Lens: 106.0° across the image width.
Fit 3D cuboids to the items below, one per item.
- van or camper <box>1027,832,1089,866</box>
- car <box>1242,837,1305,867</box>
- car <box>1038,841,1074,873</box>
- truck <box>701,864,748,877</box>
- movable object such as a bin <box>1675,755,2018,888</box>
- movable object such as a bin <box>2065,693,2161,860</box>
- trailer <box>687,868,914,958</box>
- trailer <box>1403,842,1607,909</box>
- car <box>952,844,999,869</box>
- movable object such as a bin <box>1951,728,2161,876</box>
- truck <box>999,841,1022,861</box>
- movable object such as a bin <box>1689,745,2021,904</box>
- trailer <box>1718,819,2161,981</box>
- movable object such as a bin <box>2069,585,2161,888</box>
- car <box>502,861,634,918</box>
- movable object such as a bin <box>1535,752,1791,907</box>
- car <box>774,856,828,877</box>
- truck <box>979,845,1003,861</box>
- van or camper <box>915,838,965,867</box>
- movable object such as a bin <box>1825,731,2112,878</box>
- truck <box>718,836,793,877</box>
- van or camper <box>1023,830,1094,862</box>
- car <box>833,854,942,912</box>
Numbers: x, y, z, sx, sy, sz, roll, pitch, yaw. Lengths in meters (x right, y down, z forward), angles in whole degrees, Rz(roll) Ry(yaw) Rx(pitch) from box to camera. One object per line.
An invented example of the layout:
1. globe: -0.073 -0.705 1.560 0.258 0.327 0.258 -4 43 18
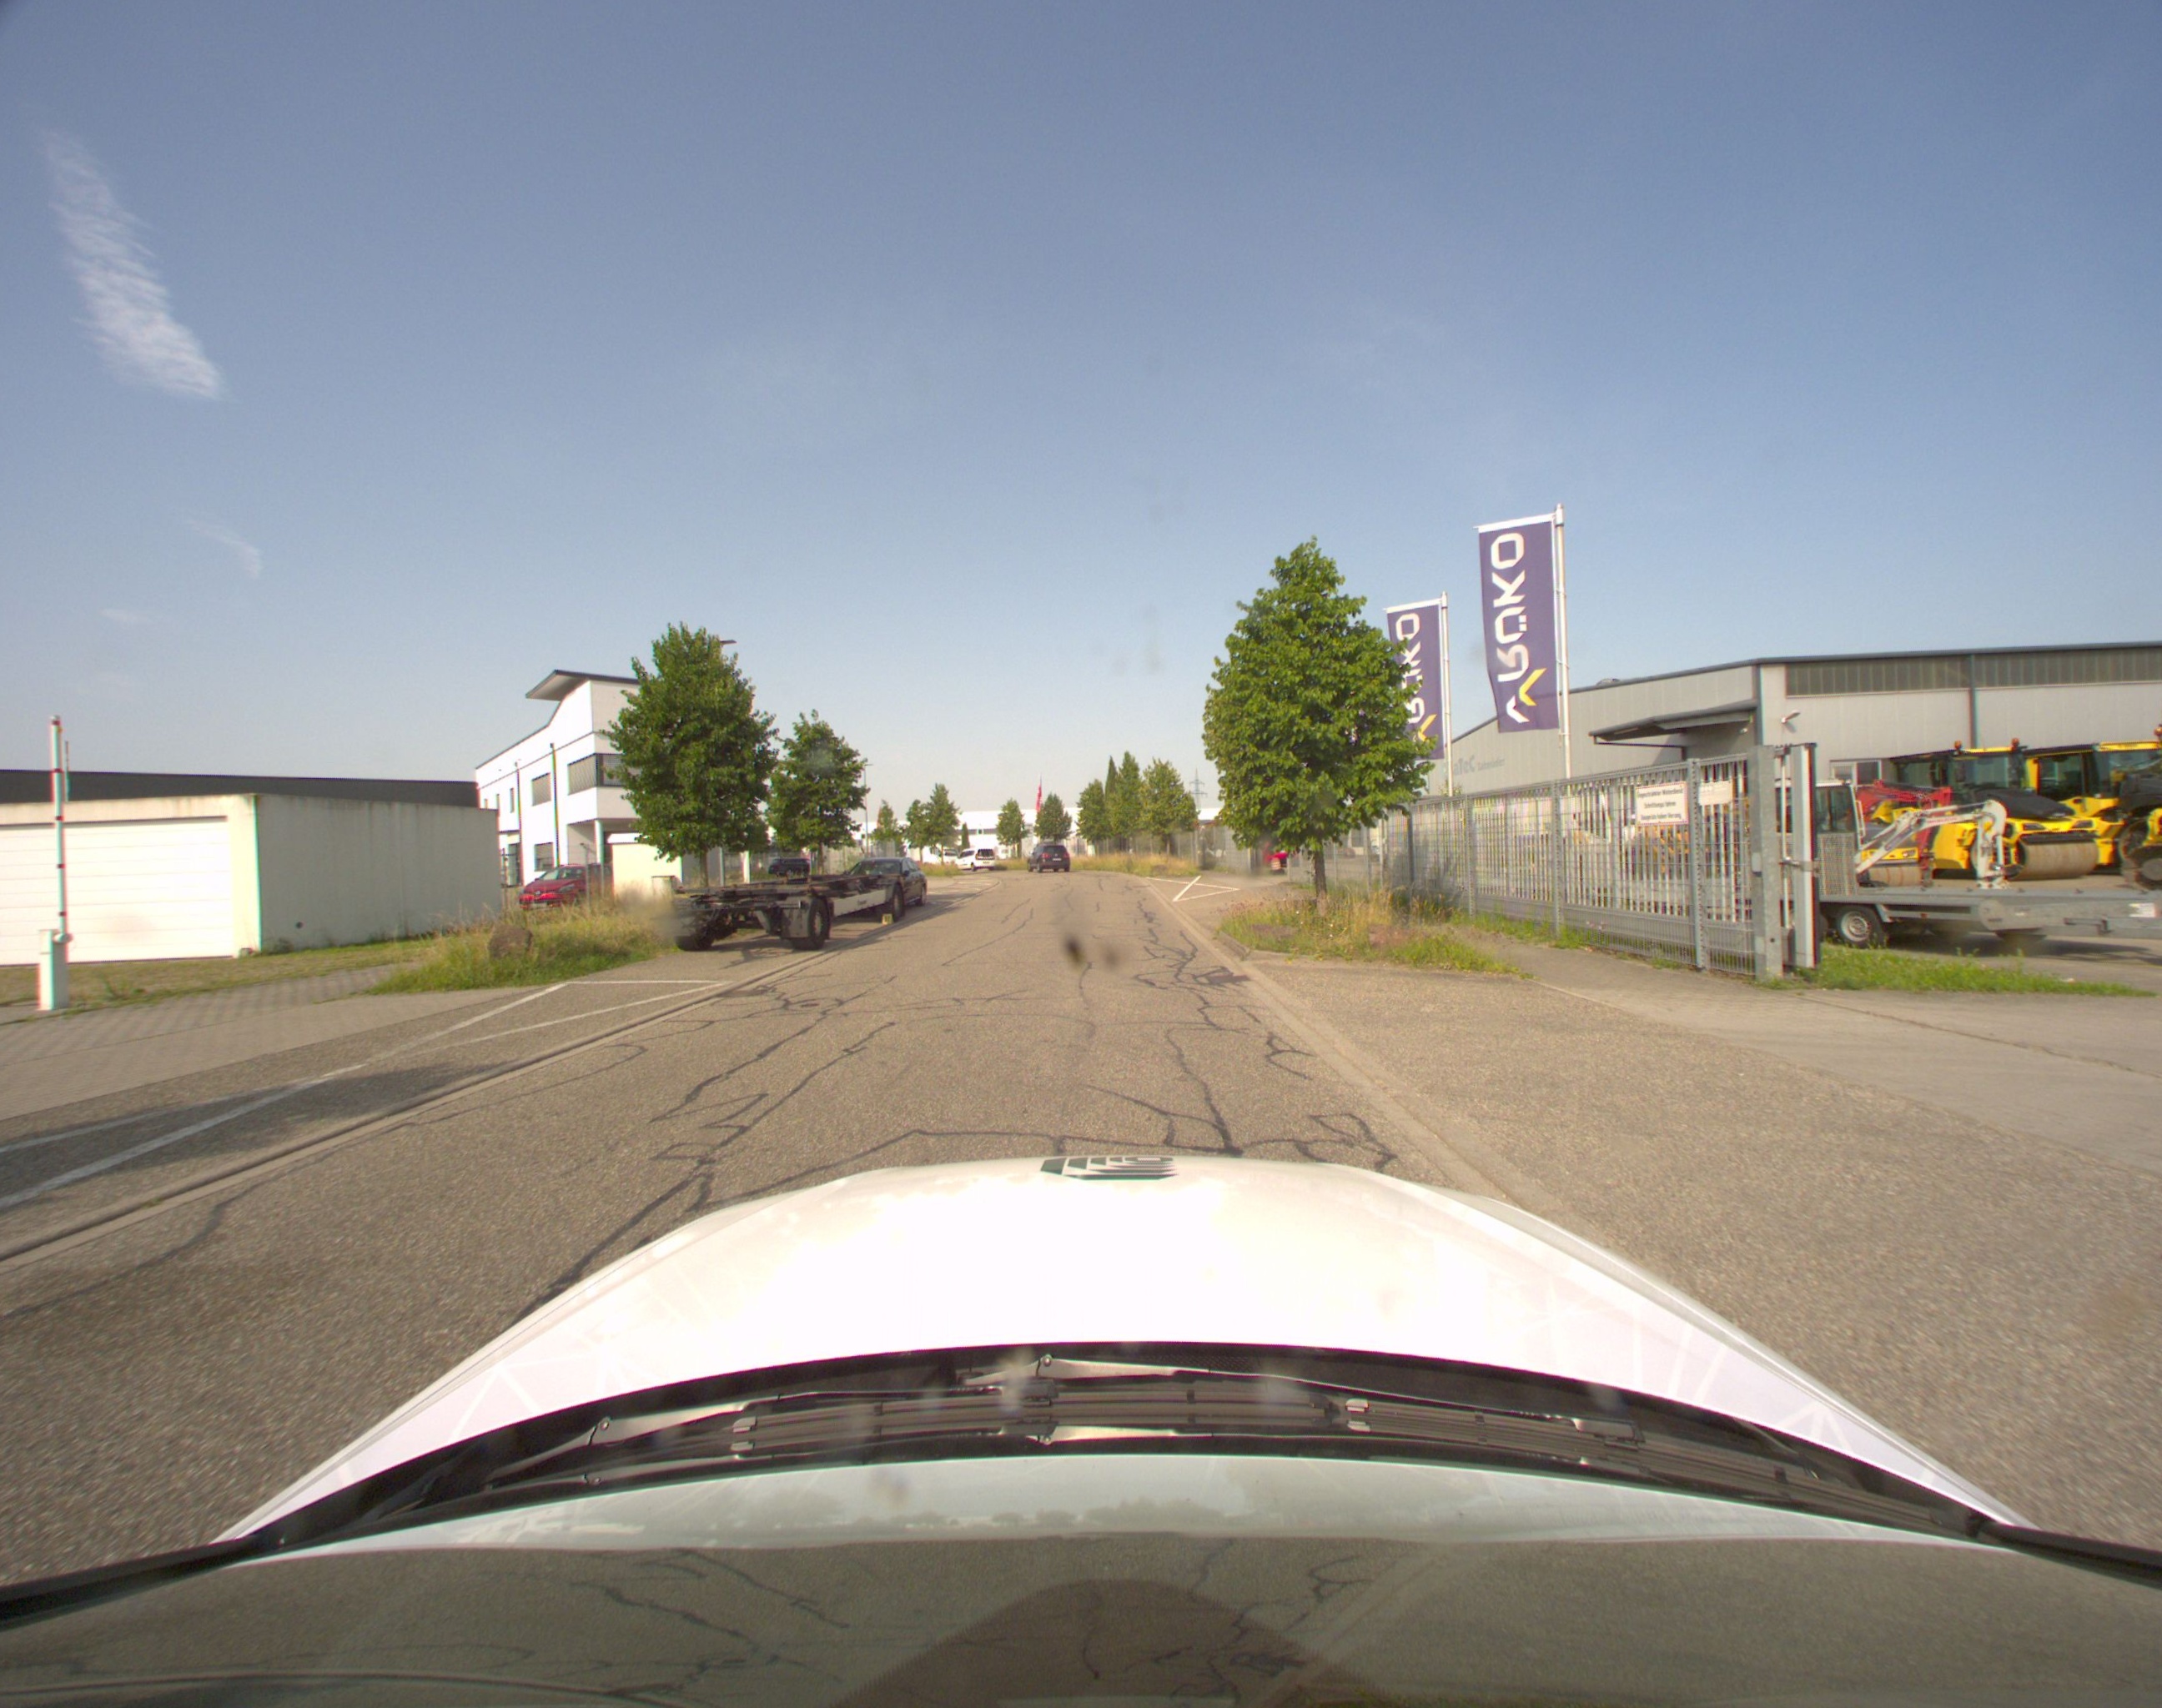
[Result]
1. van or camper: -2.197 -0.411 73.366 2.364 2.848 7.271 -2 0 -30
2. car: 9.634 -0.129 41.196 1.876 1.357 4.770 -2 0 -2
3. car: -1.546 0.146 49.406 1.990 1.804 3.994 -1 0 -4
4. truck: -39.112 1.852 89.173 2.547 1.265 6.445 -3 1 -45
5. movable object such as a bin: 17.015 -0.660 18.712 2.911 2.491 5.342 -2 0 2
6. movable object such as a bin: 26.322 -1.841 17.814 2.673 3.873 5.721 -2 0 2
7. trailer: -5.375 1.041 17.058 2.122 1.232 7.159 -1 1 1
8. trailer: 9.338 0.405 18.505 2.119 1.243 4.795 -2 0 0
9. car: -8.438 0.199 65.022 2.007 1.899 4.422 -2 0 -32
10. movable object such as a bin: 23.138 -1.119 18.535 1.985 3.031 4.375 -2 0 2
11. truck: -10.657 -0.523 123.333 2.441 2.826 8.007 -2 0 2
12. movable object such as a bin: 14.177 -0.495 15.444 1.983 2.458 4.771 -2 0 5
13. trailer: 9.654 0.358 8.858 1.985 1.311 4.566 -2 -1 2
14. movable object such as a bin: 18.838 -1.887 10.296 3.305 4.806 7.672 -2 1 0
15. car: -16.775 1.092 26.898 1.767 1.525 4.299 -2 1 -4
16. movable object such as a bin: 12.074 -0.470 17.468 1.879 2.752 5.163 -2 0 2
17. car: -20.945 0.907 61.008 1.576 1.454 3.525 -2 0 43
18. truck: -13.618 -0.131 123.424 2.441 2.265 8.007 -2 0 2
19. van or camper: -14.915 -0.138 85.790 2.349 2.943 6.894 -2 0 -36
20. movable object such as a bin: 20.855 -1.056 19.505 1.985 3.031 4.494 -2 0 2
21. truck: -33.472 0.365 83.250 2.649 3.929 12.760 -1 0 -43
22. van or camper: -2.374 -0.818 84.821 7.247 3.032 2.581 -2 0 -5
23. car: -5.573 0.770 24.042 1.986 1.466 4.435 -1 1 2
